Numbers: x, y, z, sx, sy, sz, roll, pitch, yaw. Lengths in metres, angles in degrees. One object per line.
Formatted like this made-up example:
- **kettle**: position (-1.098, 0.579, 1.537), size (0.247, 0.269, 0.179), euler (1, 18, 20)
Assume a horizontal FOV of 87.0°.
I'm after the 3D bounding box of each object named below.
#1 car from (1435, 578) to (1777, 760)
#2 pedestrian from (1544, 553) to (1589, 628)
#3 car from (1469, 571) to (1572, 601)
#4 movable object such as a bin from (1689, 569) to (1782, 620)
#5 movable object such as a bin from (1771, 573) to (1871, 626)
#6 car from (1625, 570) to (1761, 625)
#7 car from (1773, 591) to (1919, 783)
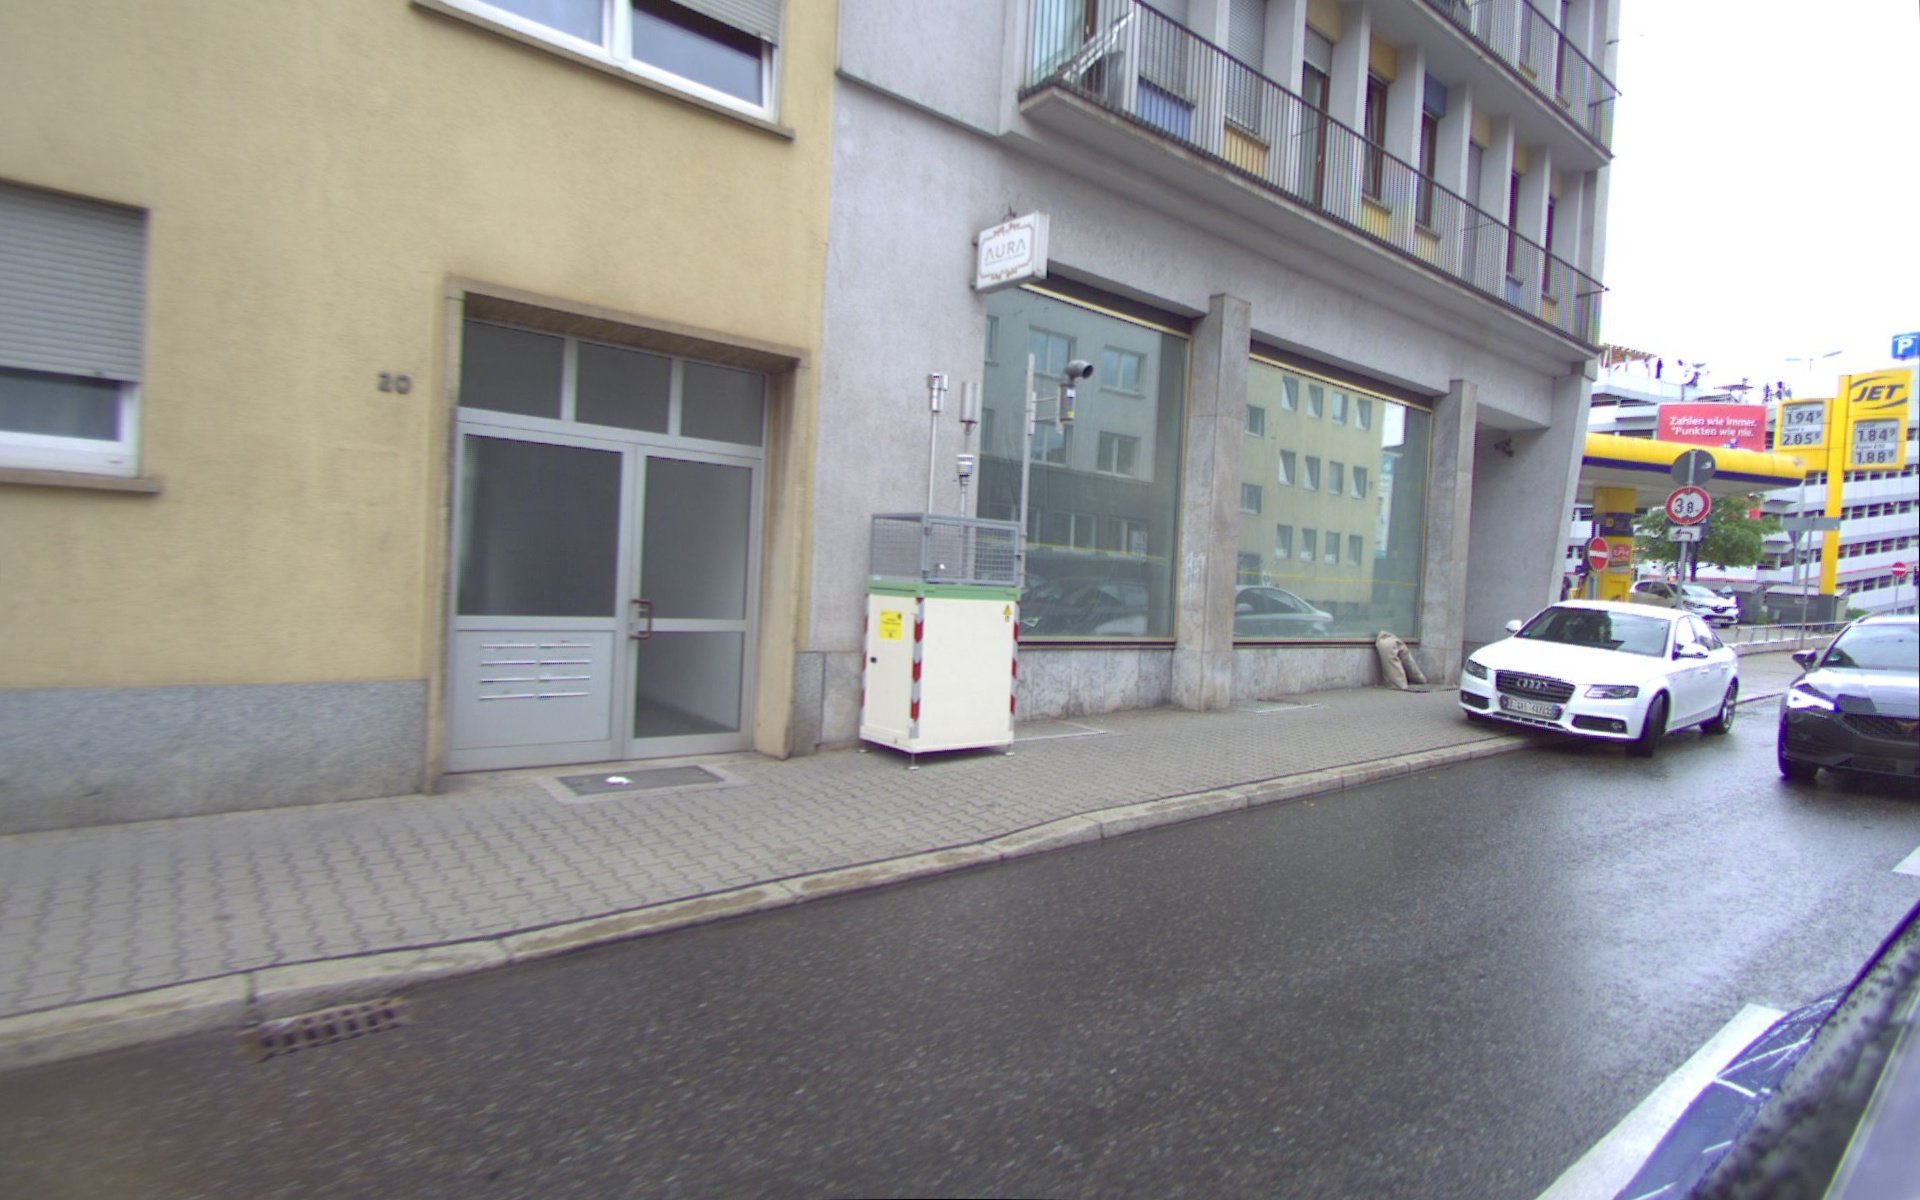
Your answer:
- **car**: position (7.334, 0.632, 11.293), size (4.528, 1.418, 1.899), euler (1, 7, -41)
- **pedestrian**: position (15.033, -0.242, 25.100), size (0.649, 1.792, 0.529), euler (4, 4, 9)
- **car**: position (33.507, -0.853, 60.639), size (1.967, 1.652, 5.027), euler (1, 1, -44)
- **movable object such as a bin**: position (27.260, -0.198, 35.593), size (1.740, 1.574, 2.163), euler (1, 4, -38)
- **movable object such as a bin**: position (28.790, -0.037, 33.867), size (1.740, 1.593, 2.162), euler (1, 3, -38)
- **car**: position (24.102, -0.139, 33.474), size (1.715, 1.459, 3.998), euler (3, 4, 5)
- **car**: position (8.886, 0.679, 8.988), size (4.501, 1.405, 1.738), euler (1, 1, -40)
